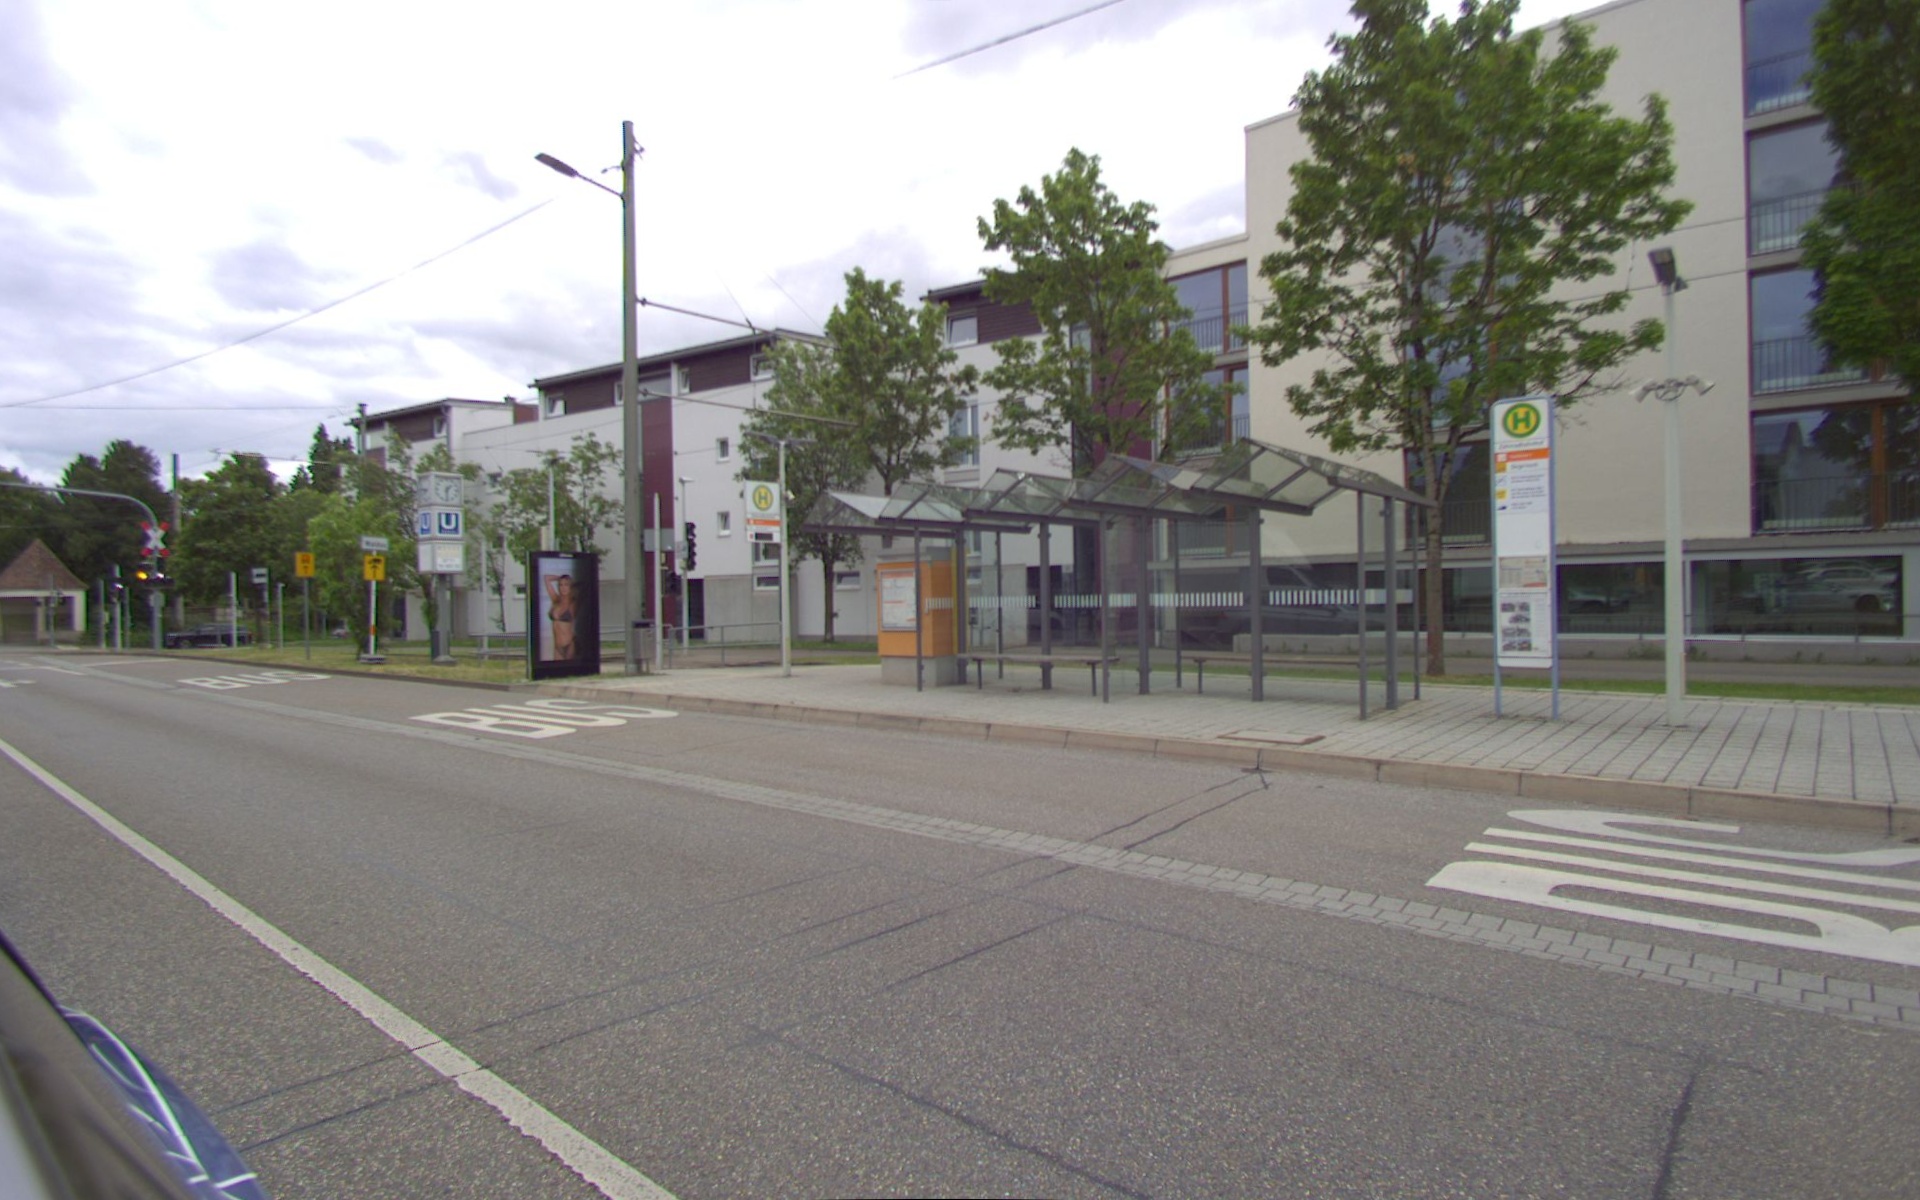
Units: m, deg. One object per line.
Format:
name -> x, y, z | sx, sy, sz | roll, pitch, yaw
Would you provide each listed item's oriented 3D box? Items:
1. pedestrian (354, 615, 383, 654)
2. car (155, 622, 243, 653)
pedestrian -> -24.939, 1.436, 42.690 | 0.778, 1.607, 0.773 | -1, 0, 32
car -> -46.490, 2.281, 61.896 | 1.925, 1.719, 3.950 | -1, 0, 37
